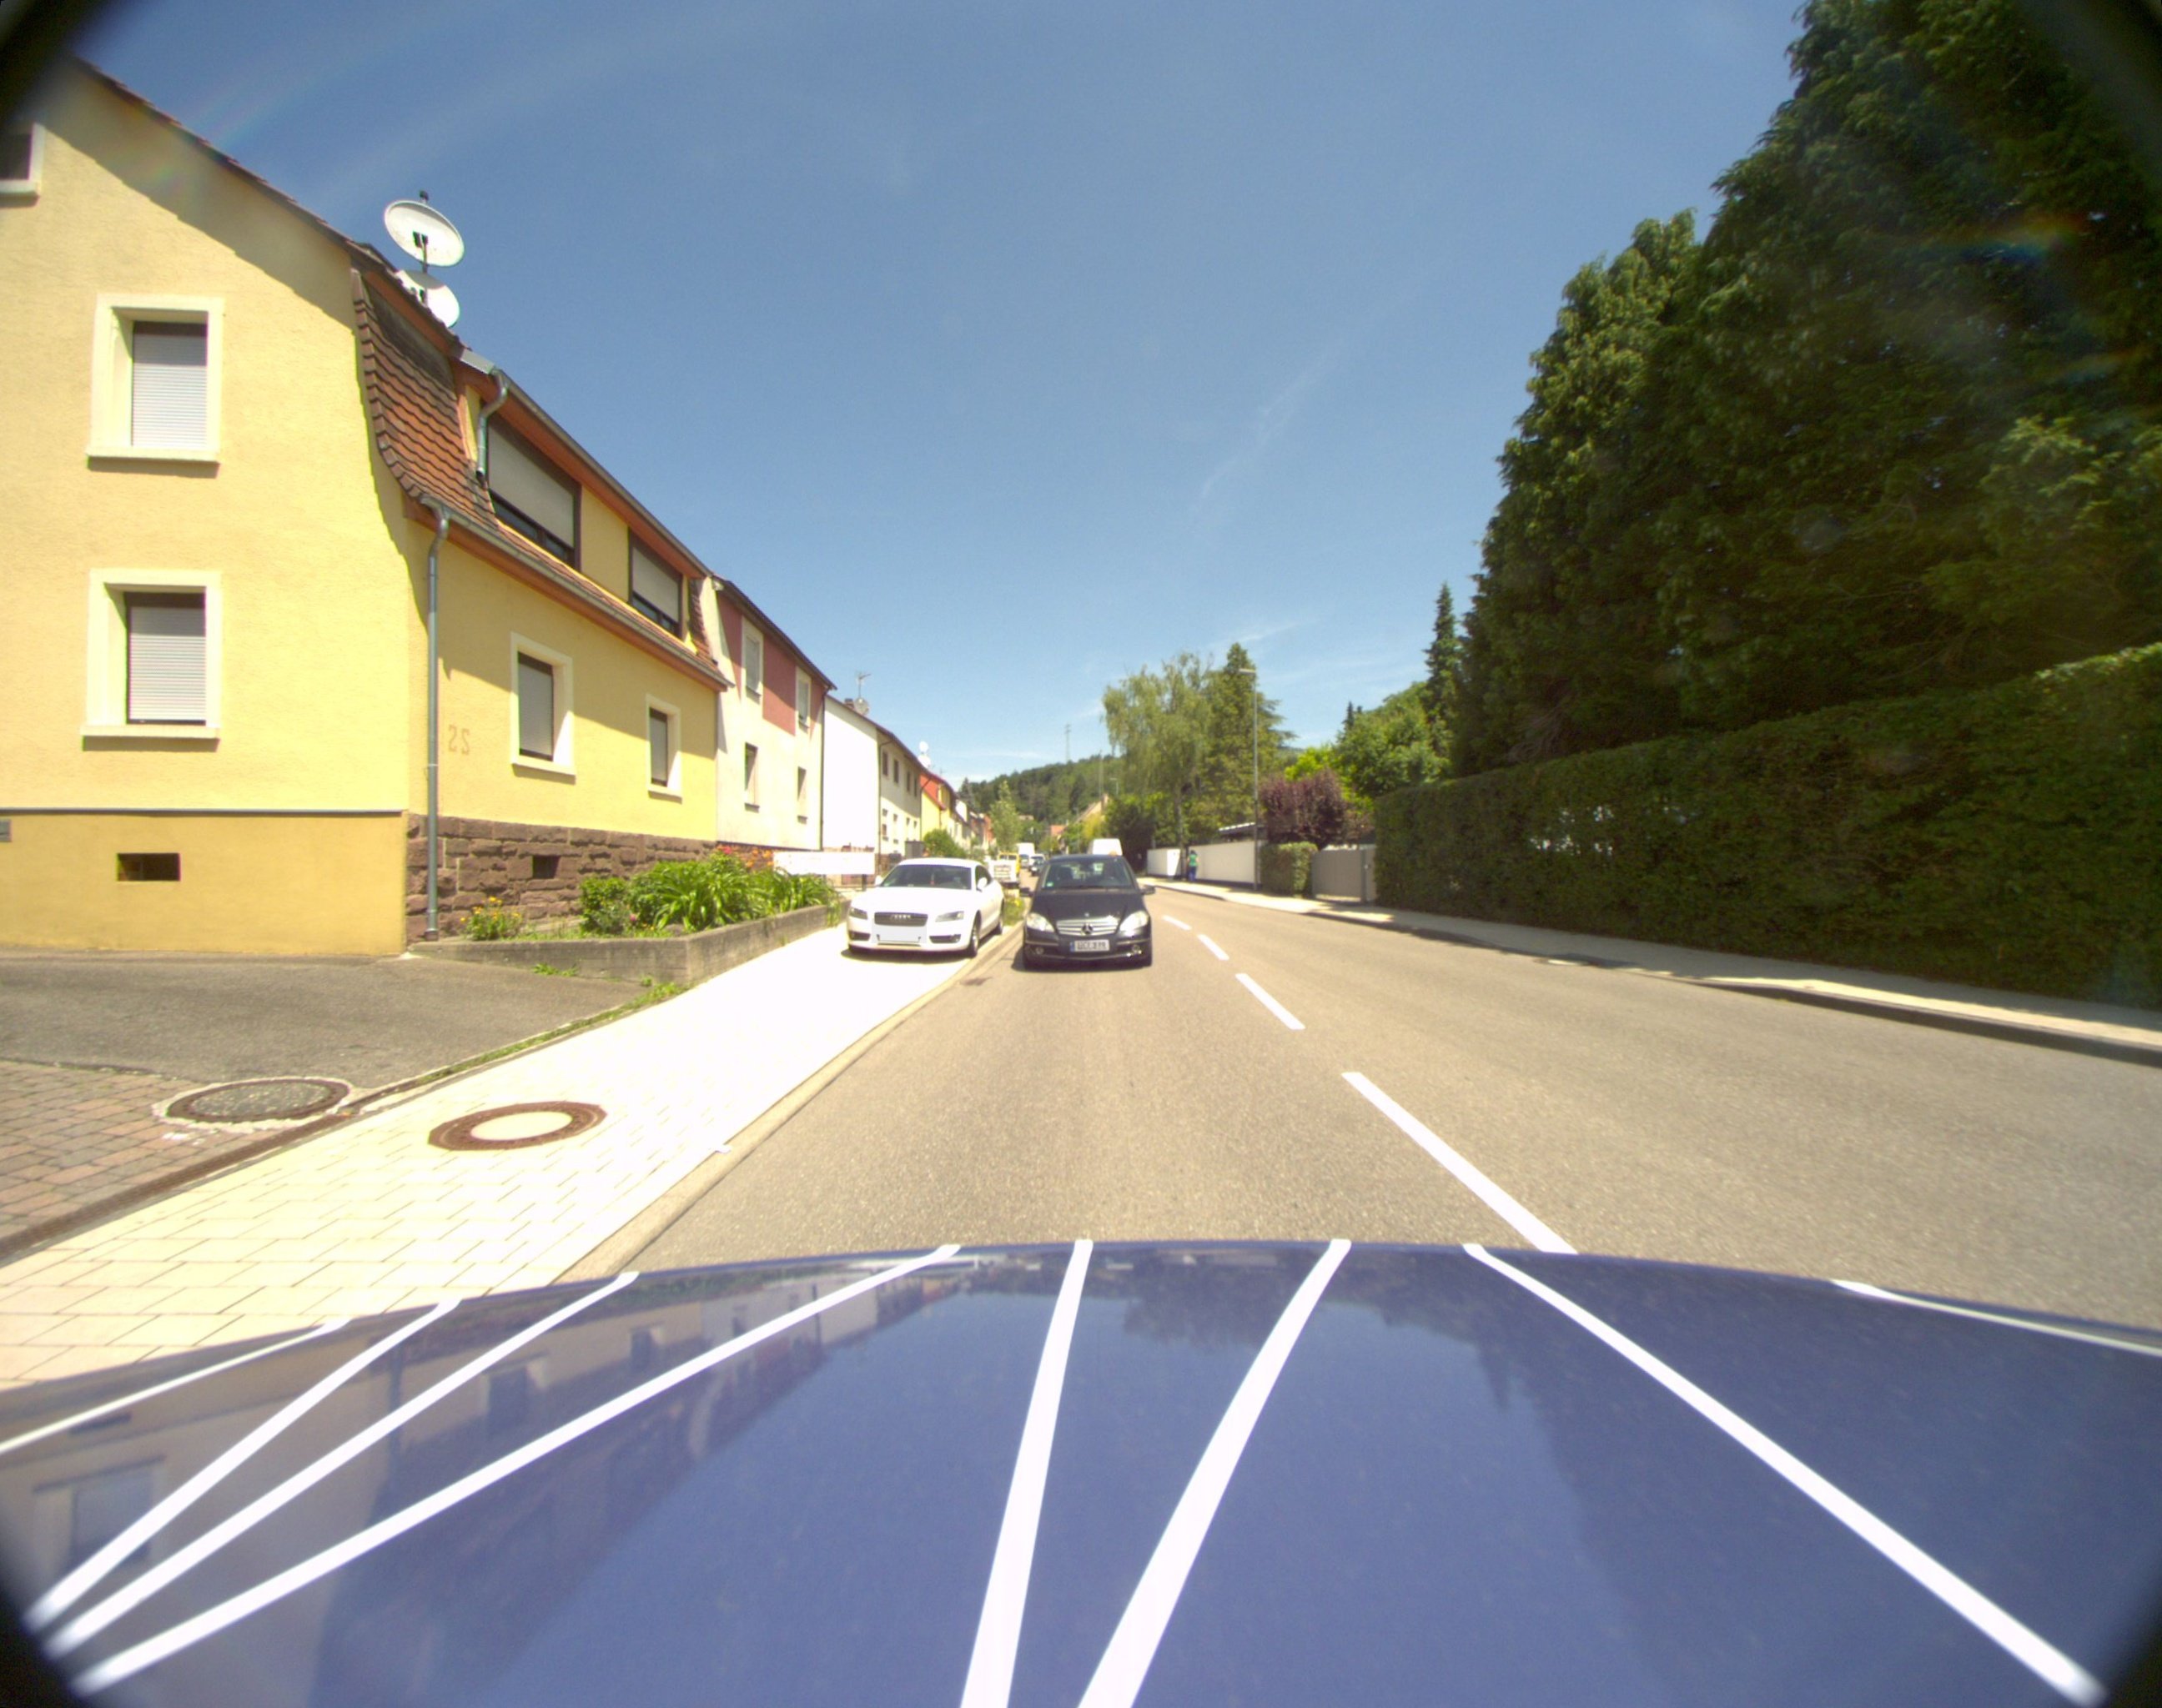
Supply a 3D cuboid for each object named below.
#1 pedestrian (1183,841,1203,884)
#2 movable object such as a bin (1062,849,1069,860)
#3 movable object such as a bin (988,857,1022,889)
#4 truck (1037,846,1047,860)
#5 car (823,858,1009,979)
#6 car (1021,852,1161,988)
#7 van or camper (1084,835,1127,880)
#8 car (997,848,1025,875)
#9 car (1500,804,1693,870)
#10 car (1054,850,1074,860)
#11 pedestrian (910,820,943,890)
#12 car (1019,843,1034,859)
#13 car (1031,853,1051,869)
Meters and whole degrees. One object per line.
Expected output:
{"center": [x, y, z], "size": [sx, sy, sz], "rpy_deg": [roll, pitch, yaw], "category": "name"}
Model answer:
{"center": [5.303, 0.391, 36.088], "size": [0.722, 2.002, 0.803], "rpy_deg": [-2, 2, -5], "category": "pedestrian"}
{"center": [-2.863, 0.019, 142.046], "size": [1.062, 2.002, 1.322], "rpy_deg": [-2, 2, -5], "category": "movable object such as a bin"}
{"center": [-3.597, 0.881, 36.106], "size": [1.576, 1.408, 3.039], "rpy_deg": [0, 1, -5], "category": "movable object such as a bin"}
{"center": [-10.849, -0.356, 210.838], "size": [2.549, 3.716, 8.618], "rpy_deg": [0, 0, -3], "category": "truck"}
{"center": [-2.365, 0.851, 12.187], "size": [1.760, 1.410, 4.632], "rpy_deg": [2, 1, 3], "category": "car"}
{"center": [-0.024, 0.848, 12.312], "size": [1.767, 1.572, 4.927], "rpy_deg": [-2, 2, -4], "category": "car"}
{"center": [1.510, 0.215, 49.604], "size": [2.044, 2.698, 5.821], "rpy_deg": [-1, 0, -5], "category": "van or camper"}
{"center": [-6.058, 0.598, 65.699], "size": [2.196, 2.002, 5.618], "rpy_deg": [3, 1, -6], "category": "car"}
{"center": [16.550, -0.552, 24.590], "size": [4.814, 1.883, 2.160], "rpy_deg": [-2, 1, -2], "category": "car"}
{"center": [-3.343, 0.167, 147.923], "size": [3.607, 1.780, 1.847], "rpy_deg": [-2, 1, -6], "category": "car"}
{"center": [-4.546, 0.030, 22.435], "size": [0.748, 2.002, 1.033], "rpy_deg": [-2, 2, -3], "category": "pedestrian"}
{"center": [-7.613, -0.458, 105.960], "size": [1.987, 2.170, 3.997], "rpy_deg": [-2, 1, -5], "category": "car"}
{"center": [-4.616, 0.765, 86.405], "size": [1.999, 1.716, 3.997], "rpy_deg": [-2, 1, -6], "category": "car"}
